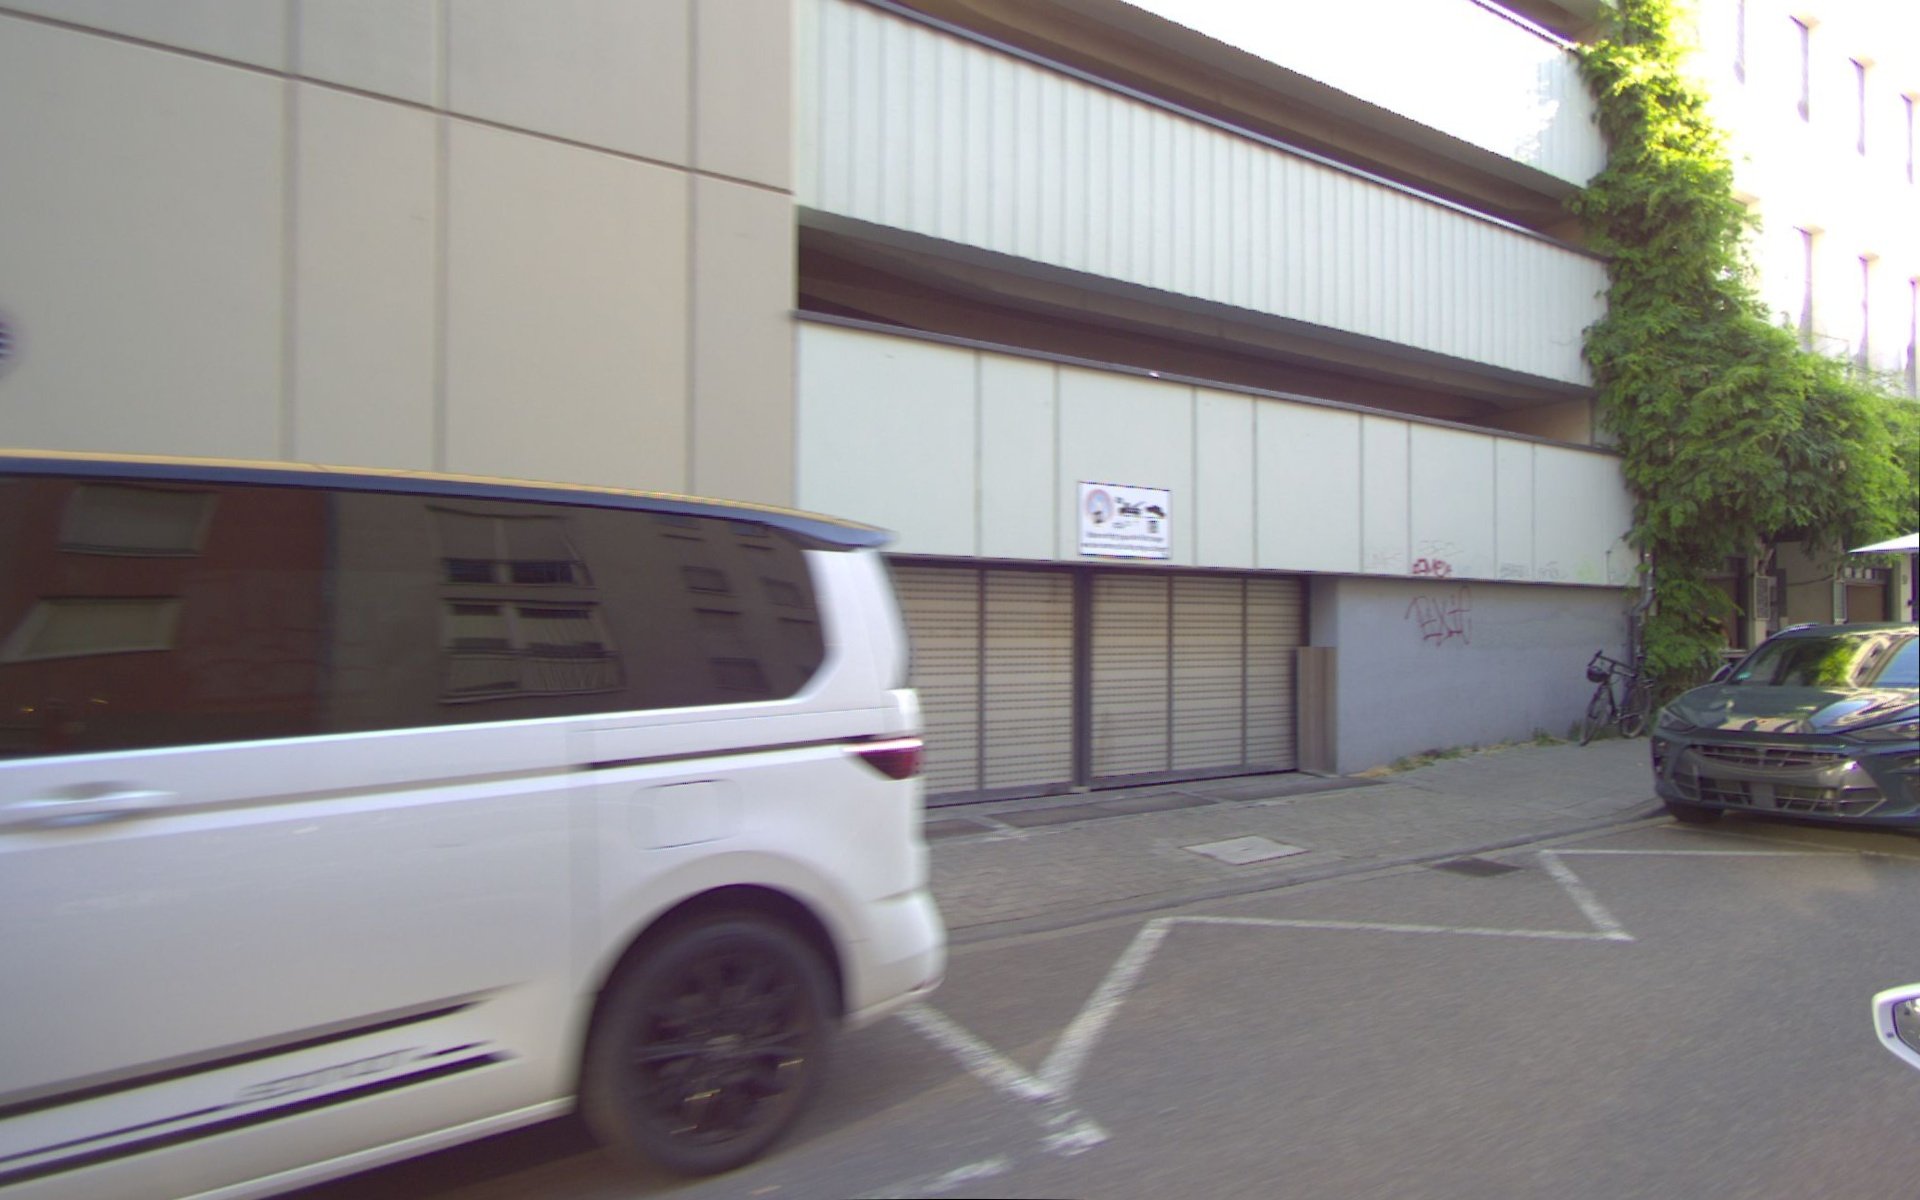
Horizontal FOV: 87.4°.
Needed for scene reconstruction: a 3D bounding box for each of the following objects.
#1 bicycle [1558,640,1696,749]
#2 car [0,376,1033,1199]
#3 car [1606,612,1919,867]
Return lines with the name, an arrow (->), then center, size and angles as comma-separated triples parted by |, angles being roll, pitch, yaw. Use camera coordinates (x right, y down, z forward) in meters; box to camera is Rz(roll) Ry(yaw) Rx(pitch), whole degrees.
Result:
bicycle -> 7.911, 1.079, 11.897 | 1.772, 1.175, 0.640 | 1, -1, -30
car -> -2.319, 0.600, 2.781 | 4.797, 1.965, 1.983 | 1, -3, -33
car -> 7.524, 0.957, 8.266 | 4.718, 1.588, 1.871 | 1, -4, -33
